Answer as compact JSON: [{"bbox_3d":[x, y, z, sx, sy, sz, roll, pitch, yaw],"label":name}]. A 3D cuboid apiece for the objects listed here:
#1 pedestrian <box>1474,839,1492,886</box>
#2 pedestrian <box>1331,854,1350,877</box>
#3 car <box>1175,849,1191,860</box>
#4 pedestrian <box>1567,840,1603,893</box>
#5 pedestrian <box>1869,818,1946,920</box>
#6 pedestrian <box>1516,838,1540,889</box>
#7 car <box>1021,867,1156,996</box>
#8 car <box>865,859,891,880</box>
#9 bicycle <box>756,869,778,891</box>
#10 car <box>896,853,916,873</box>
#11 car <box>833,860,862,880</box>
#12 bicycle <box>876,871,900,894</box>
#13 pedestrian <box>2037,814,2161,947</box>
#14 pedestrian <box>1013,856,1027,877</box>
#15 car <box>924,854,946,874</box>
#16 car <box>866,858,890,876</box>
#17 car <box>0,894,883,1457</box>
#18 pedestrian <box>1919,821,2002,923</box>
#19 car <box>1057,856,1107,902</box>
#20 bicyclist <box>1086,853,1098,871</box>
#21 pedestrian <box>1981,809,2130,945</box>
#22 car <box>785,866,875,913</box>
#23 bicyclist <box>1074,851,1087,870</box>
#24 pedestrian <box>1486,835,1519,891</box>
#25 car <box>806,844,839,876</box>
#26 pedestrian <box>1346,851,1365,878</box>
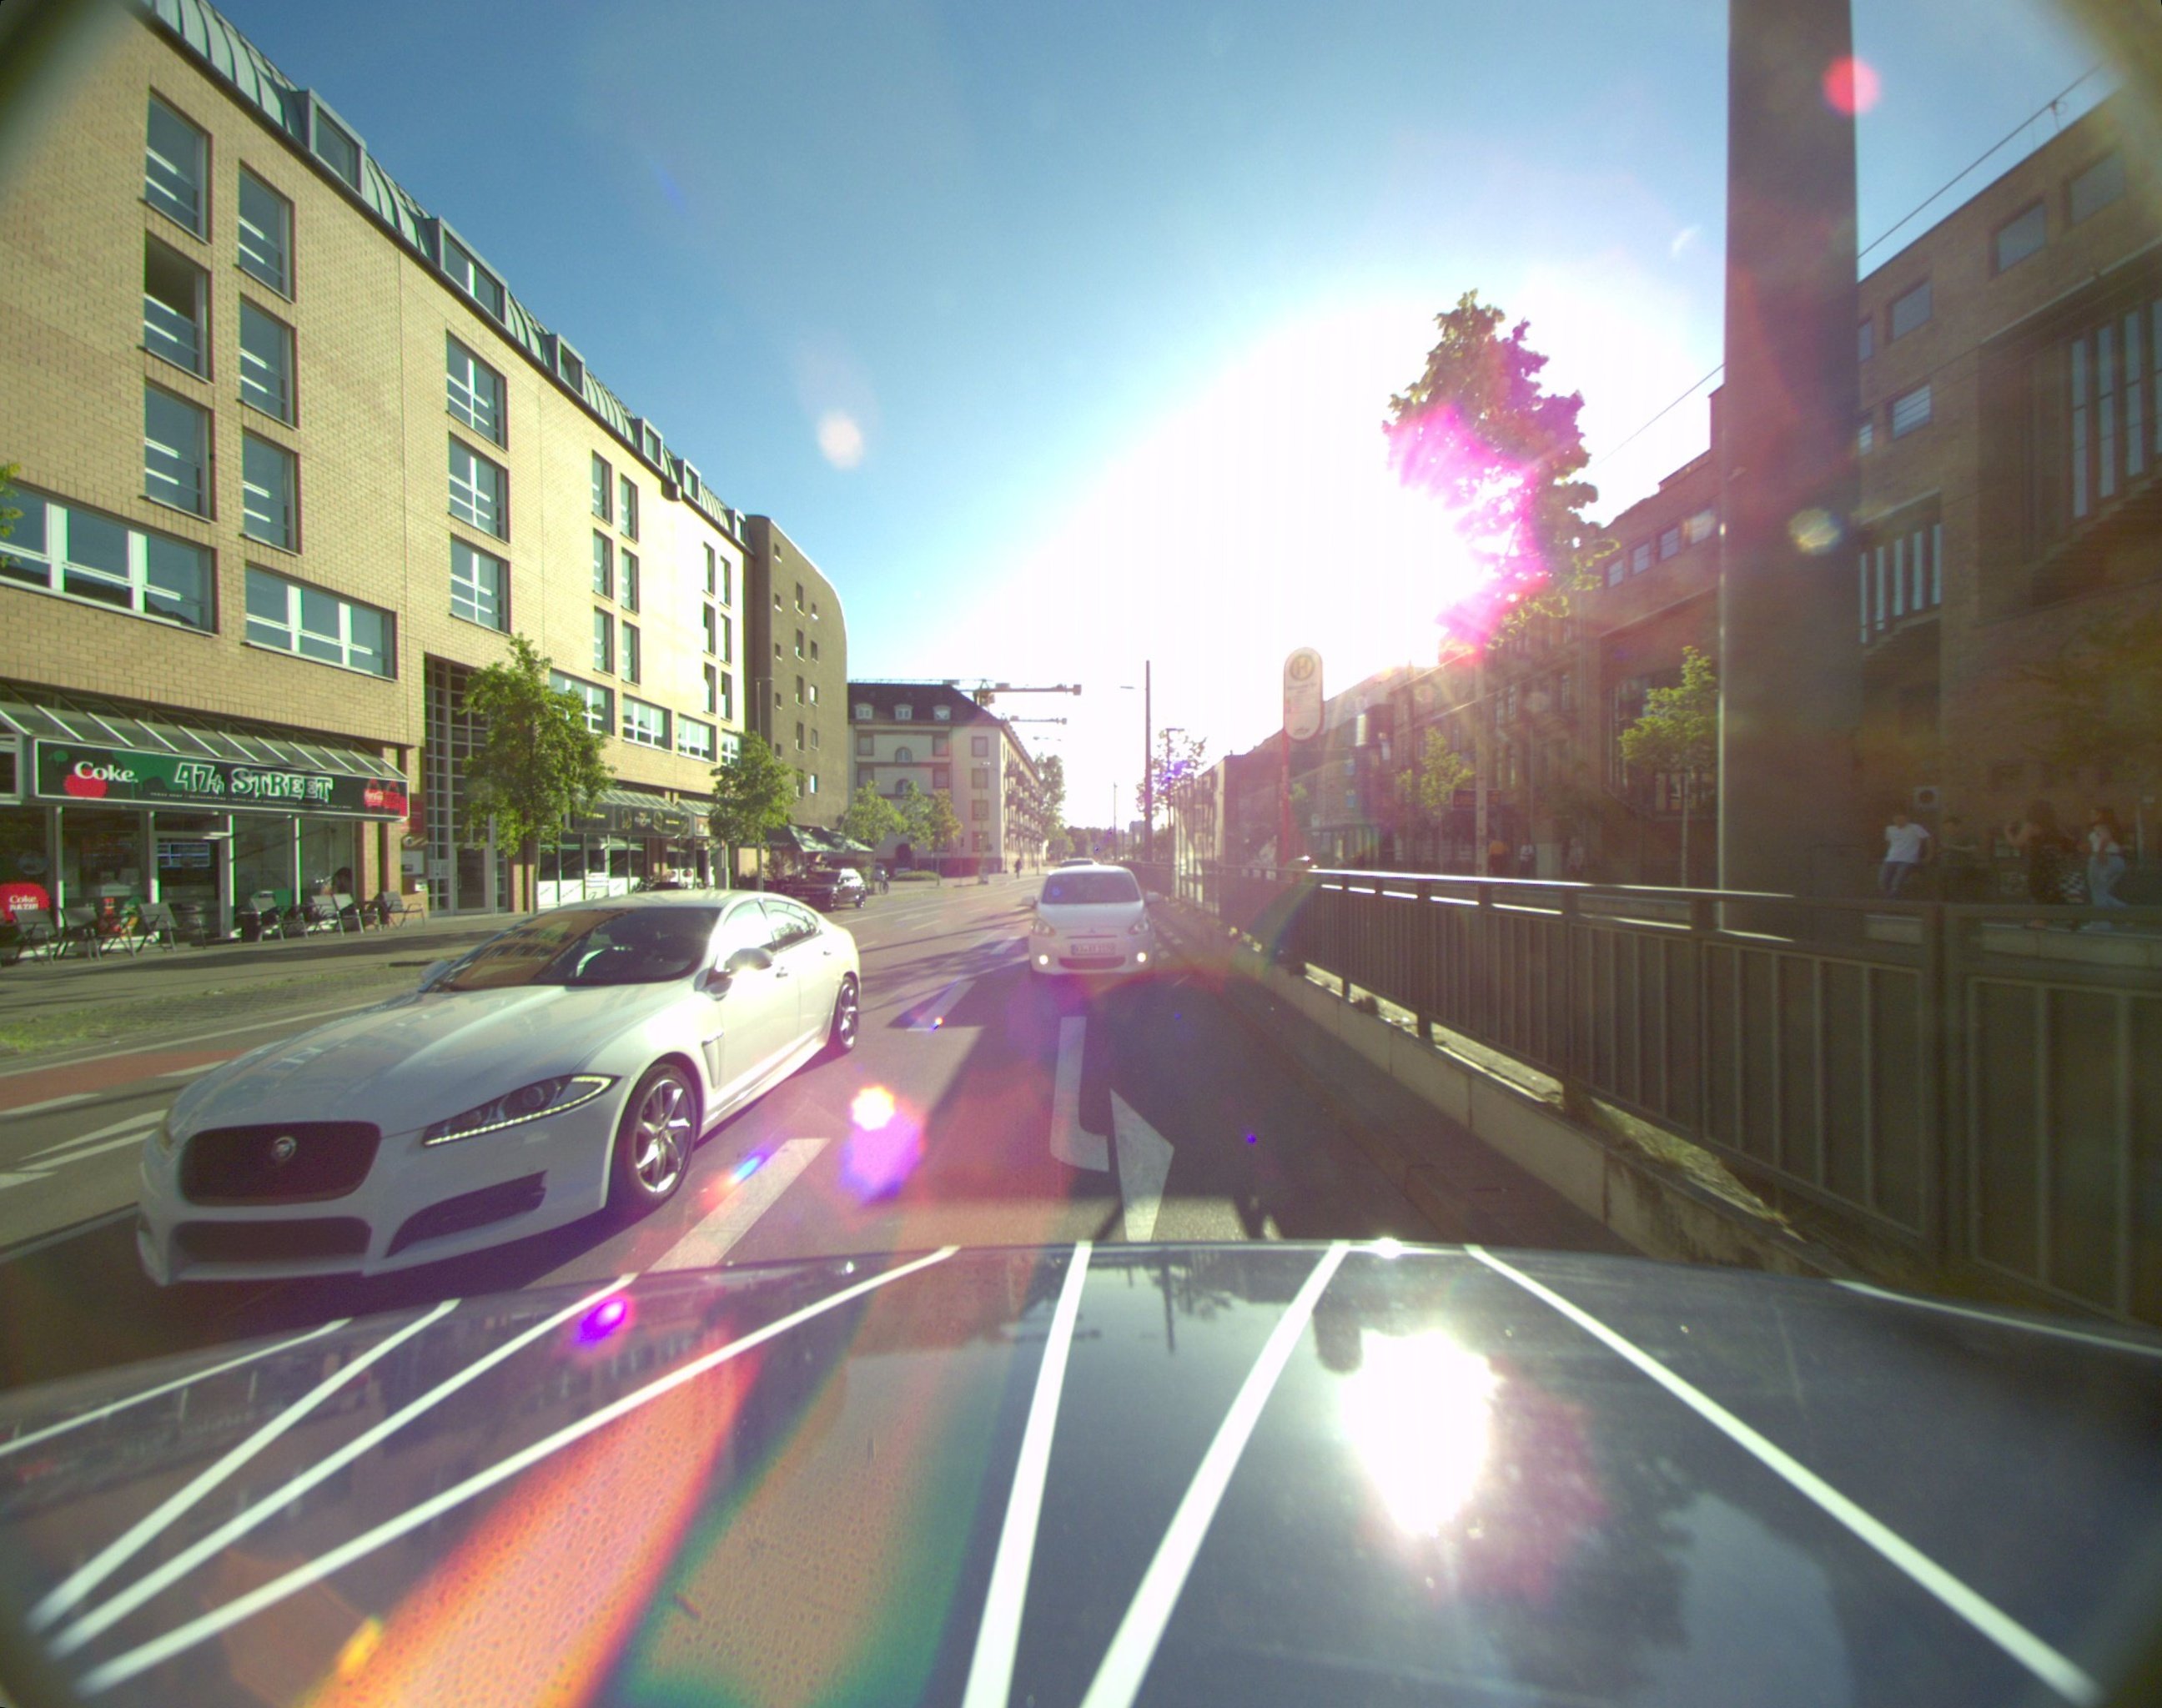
[{"bbox_3d":[14.277,0.301,26.997,0.379,1.638,0.416,-3,1,1],"label":"pedestrian"},{"bbox_3d":[13.698,0.597,40.159,0.723,1.161,0.721,1,1,1],"label":"pedestrian"},{"bbox_3d":[18.216,0.126,135.912,1.999,1.869,4.582,-3,0,-2],"label":"car"},{"bbox_3d":[14.288,0.356,21.558,0.540,1.451,0.642,-3,0,1],"label":"pedestrian"},{"bbox_3d":[14.295,0.256,13.153,0.624,1.705,0.616,-2,1,1],"label":"pedestrian"},{"bbox_3d":[14.295,0.297,24.288,0.379,1.612,0.553,-3,1,1],"label":"pedestrian"},{"bbox_3d":[0.119,0.983,11.387,1.634,1.499,4.350,0,0,1],"label":"car"},{"bbox_3d":[-15.803,1.199,59.265,1.668,1.466,3.833,-3,0,-11],"label":"car"},{"bbox_3d":[-17.129,1.421,41.517,0.615,1.162,1.536,1,0,-2],"label":"bicycle"},{"bbox_3d":[-16.396,0.852,71.282,1.629,1.677,4.434,-1,2,-11],"label":"car"},{"bbox_3d":[-18.045,1.201,58.832,1.637,1.444,3.653,-3,0,-9],"label":"car"},{"bbox_3d":[-10.147,1.481,40.090,0.767,1.075,1.997,4,1,-3],"label":"bicycle"},{"bbox_3d":[13.137,0.318,9.691,0.642,1.598,0.945,-3,0,1],"label":"pedestrian"},{"bbox_3d":[-5.251,1.035,65.448,0.885,1.753,1.106,1,2,10],"label":"pedestrian"},{"bbox_3d":[-13.697,0.932,71.435,1.697,1.676,4.437,-3,0,-7],"label":"car"},{"bbox_3d":[-18.870,1.193,70.637,1.698,1.421,4.435,-3,1,-10],"label":"car"},{"bbox_3d":[-2.815,1.114,4.712,1.785,1.406,4.818,-3,0,1],"label":"car"},{"bbox_3d":[14.284,0.280,12.355,0.624,1.602,0.616,-2,1,1],"label":"pedestrian"},{"bbox_3d":[0.114,0.987,32.089,1.899,1.730,4.000,-3,0,2],"label":"car"},{"bbox_3d":[1.066,0.829,75.326,0.886,1.763,0.854,-1,1,-26],"label":"bicyclist"},{"bbox_3d":[12.412,0.282,9.715,0.642,1.633,0.945,-3,0,1],"label":"pedestrian"},{"bbox_3d":[-9.846,1.348,30.150,1.724,1.627,4.233,0,0,7],"label":"car"},{"bbox_3d":[-0.069,0.639,73.010,0.935,1.753,0.737,0,1,42],"label":"bicyclist"},{"bbox_3d":[12.854,0.270,23.174,0.642,1.686,0.541,-3,1,1],"label":"pedestrian"},{"bbox_3d":[-23.482,0.512,69.340,1.929,2.595,5.955,-1,3,-10],"label":"car"},{"bbox_3d":[13.755,0.520,38.118,0.647,1.301,0.721,1,1,1],"label":"pedestrian"}]
